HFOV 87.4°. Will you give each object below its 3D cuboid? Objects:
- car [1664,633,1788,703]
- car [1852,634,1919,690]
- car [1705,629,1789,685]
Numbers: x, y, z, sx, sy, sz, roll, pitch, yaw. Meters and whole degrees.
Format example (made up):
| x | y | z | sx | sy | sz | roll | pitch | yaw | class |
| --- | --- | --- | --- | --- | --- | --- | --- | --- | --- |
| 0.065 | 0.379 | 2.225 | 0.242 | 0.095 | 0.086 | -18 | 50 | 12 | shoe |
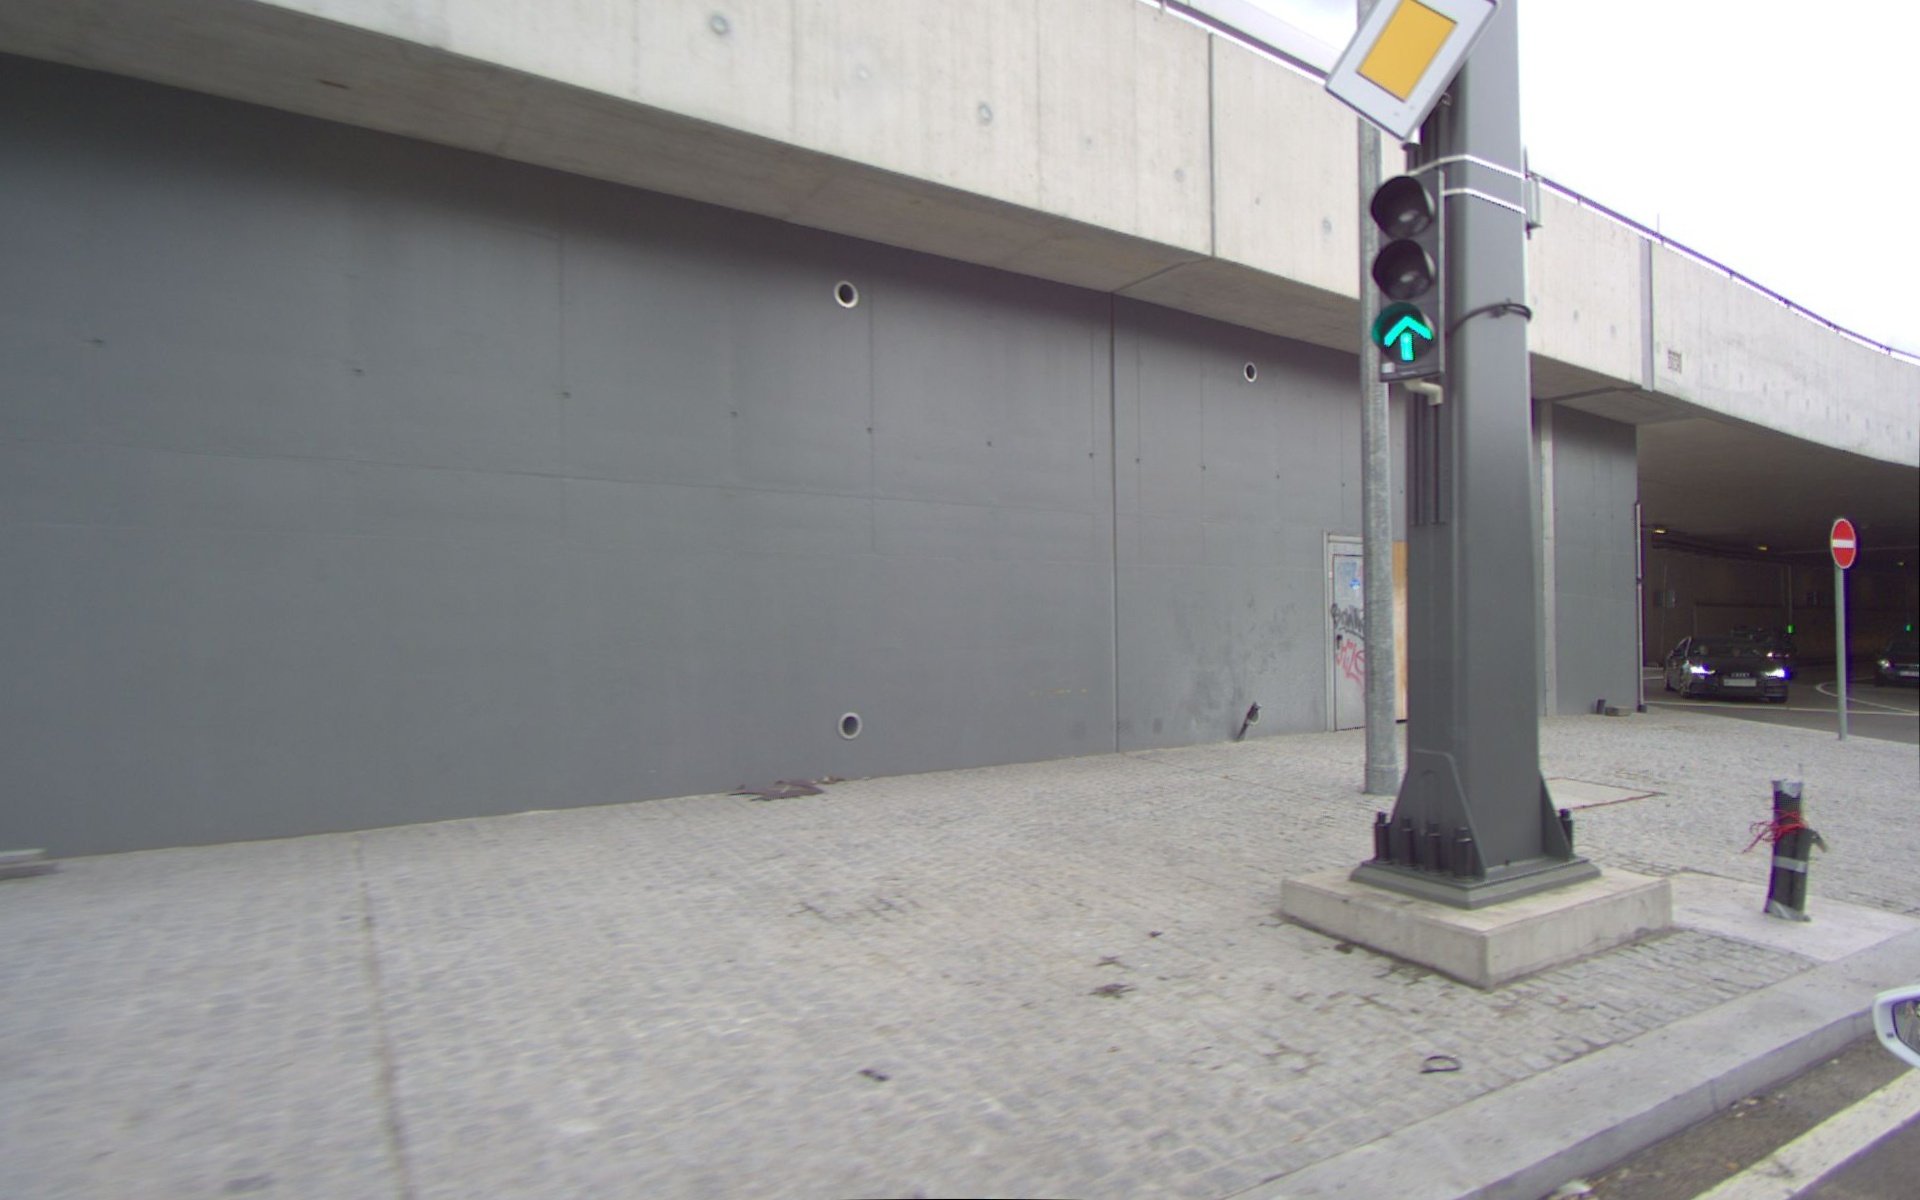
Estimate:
| x | y | z | sx | sy | sz | roll | pitch | yaw | class |
| --- | --- | --- | --- | --- | --- | --- | --- | --- | --- |
| 17.936 | 1.519 | 23.734 | 1.824 | 1.462 | 4.833 | 0 | -2 | 31 | car |
| 27.521 | 1.768 | 29.446 | 1.643 | 1.460 | 4.098 | -1 | -1 | 36 | car |
| 24.465 | 1.713 | 31.181 | 1.774 | 1.620 | 4.304 | -1 | -2 | 42 | car |
